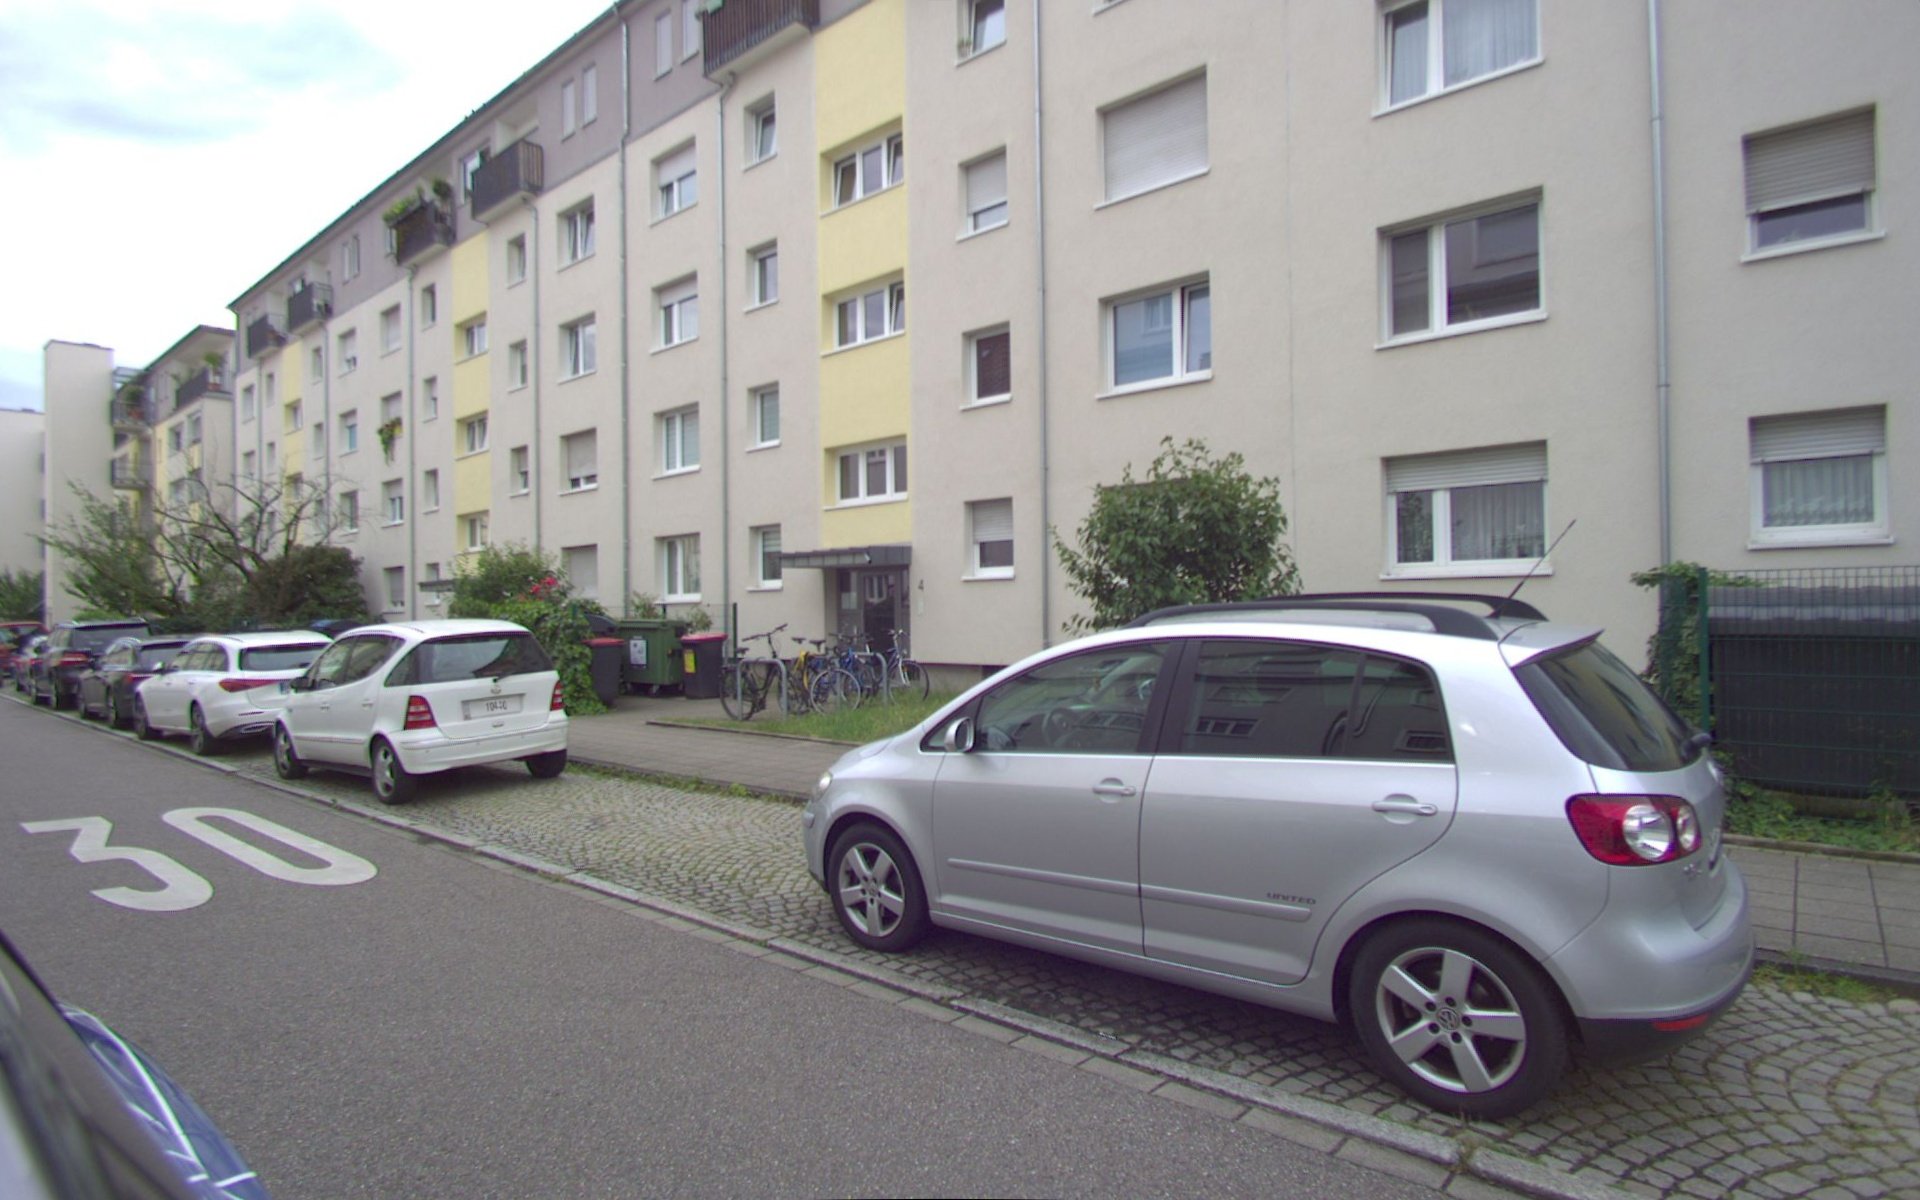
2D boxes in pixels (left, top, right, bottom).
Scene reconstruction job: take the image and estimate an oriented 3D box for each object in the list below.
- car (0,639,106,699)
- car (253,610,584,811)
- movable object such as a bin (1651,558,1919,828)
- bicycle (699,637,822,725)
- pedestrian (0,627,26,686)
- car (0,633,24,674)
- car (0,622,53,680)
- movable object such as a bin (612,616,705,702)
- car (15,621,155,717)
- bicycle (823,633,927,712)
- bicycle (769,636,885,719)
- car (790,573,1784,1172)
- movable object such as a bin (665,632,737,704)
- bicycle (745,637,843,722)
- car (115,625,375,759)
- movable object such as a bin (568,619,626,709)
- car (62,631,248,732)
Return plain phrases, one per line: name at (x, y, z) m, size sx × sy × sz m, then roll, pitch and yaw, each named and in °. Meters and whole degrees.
car at (-23.321, 1.735, 25.936) m, size 3.538 × 1.408 × 1.556 m, roll -3°, pitch -2°, yaw 39°
car at (-5.550, 0.969, 10.199) m, size 3.724 × 1.651 × 1.668 m, roll -2°, pitch -2°, yaw 40°
movable object such as a bin at (5.341, 0.503, 6.184) m, size 1.670 × 1.432 × 1.573 m, roll -3°, pitch -2°, yaw 40°
bicycle at (-2.556, 0.993, 12.834) m, size 1.877 × 1.032 × 0.483 m, roll -2°, pitch -2°, yaw 41°
pedestrian at (-27.710, 1.642, 29.512) m, size 0.621 × 1.679 × 0.596 m, roll -2°, pitch -2°, yaw 38°
car at (-35.794, 1.997, 37.099) m, size 3.538 × 1.455 × 1.686 m, roll -3°, pitch -2°, yaw 39°
car at (-31.122, 1.666, 33.060) m, size 3.538 × 1.820 × 1.686 m, roll -3°, pitch -2°, yaw 39°
movable object such as a bin at (-5.213, 0.990, 17.506) m, size 1.187 × 1.385 × 1.047 m, roll 0°, pitch 0°, yaw 36°
car at (-18.409, 1.400, 21.218) m, size 4.448 × 1.793 × 1.555 m, roll -3°, pitch -2°, yaw 40°
bicycle at (-1.202, 0.992, 14.094) m, size 1.557 × 1.032 × 0.416 m, roll -2°, pitch -2°, yaw 38°
bicycle at (-1.789, 1.002, 13.444) m, size 1.753 × 1.032 × 0.473 m, roll -2°, pitch -2°, yaw 40°
car at (1.136, 0.760, 4.569) m, size 3.914 × 1.562 × 1.636 m, roll -2°, pitch -1°, yaw 42°
movable object such as a bin at (-4.319, 1.113, 16.905) m, size 0.786 × 1.117 × 0.861 m, roll 0°, pitch 0°, yaw 37°
bicycle at (-2.171, 1.009, 13.126) m, size 1.496 × 1.032 × 0.352 m, roll -2°, pitch -2°, yaw 40°
car at (-9.925, 1.173, 13.901) m, size 4.681 × 1.521 × 1.701 m, roll -3°, pitch -2°, yaw 39°
movable object such as a bin at (-5.758, 1.002, 16.075) m, size 0.587 × 1.378 × 0.651 m, roll 0°, pitch 0°, yaw 37°
car at (-13.834, 1.297, 17.297) m, size 4.480 × 1.464 × 1.707 m, roll -2°, pitch -1°, yaw 41°
